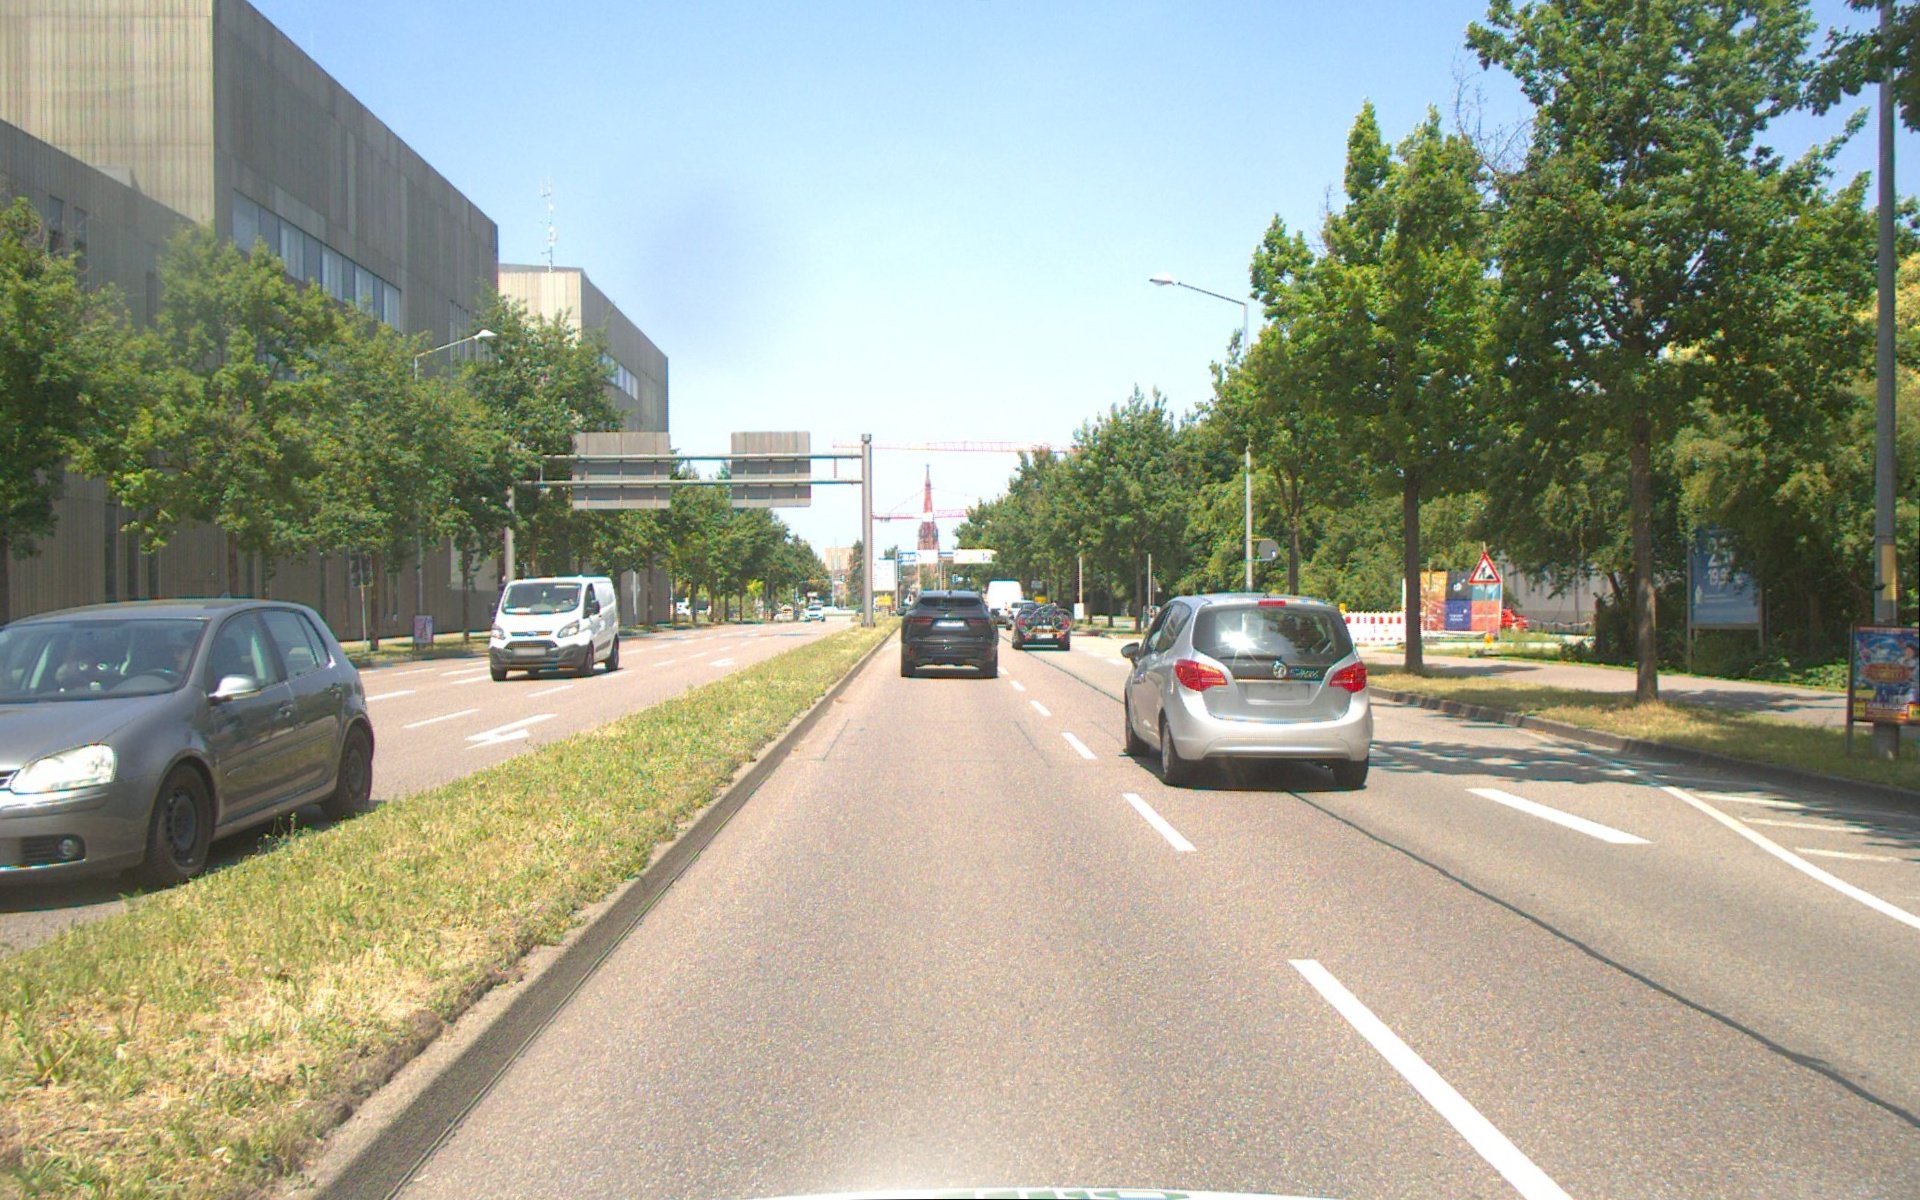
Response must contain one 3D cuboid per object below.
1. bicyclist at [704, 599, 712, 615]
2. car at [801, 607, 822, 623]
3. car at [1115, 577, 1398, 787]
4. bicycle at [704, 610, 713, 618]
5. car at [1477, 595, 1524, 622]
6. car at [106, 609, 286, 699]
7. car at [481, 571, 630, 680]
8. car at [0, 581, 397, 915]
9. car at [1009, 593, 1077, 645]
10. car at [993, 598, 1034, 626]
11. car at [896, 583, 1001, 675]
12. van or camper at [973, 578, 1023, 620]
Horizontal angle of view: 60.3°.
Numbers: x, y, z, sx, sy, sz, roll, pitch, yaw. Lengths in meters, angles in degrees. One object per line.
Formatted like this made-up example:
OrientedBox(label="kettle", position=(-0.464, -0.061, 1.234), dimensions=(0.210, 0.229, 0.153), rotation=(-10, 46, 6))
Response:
OrientedBox(label="bicyclist", position=(-24.083, 0.692, 158.086), dimensions=(0.610, 1.515, 0.757), rotation=(-1, -1, 2))
OrientedBox(label="car", position=(-14.225, 1.406, 158.394), dimensions=(1.774, 1.452, 4.356), rotation=(-2, 0, -3))
OrientedBox(label="car", position=(2.521, 0.642, 14.970), dimensions=(1.756, 1.640, 3.889), rotation=(0, 0, -2))
OrientedBox(label="bicycle", position=(-24.064, 1.355, 158.326), dimensions=(0.471, 0.728, 1.850), rotation=(-1, -1, 2))
OrientedBox(label="car", position=(24.992, 0.388, 76.521), dimensions=(1.350, 1.208, 3.304), rotation=(-1, 0, 5))
OrientedBox(label="car", position=(-13.806, 0.924, 30.136), dimensions=(1.588, 1.481, 4.015), rotation=(-1, 0, -3))
OrientedBox(label="car", position=(-8.254, 0.479, 34.175), dimensions=(1.870, 2.028, 4.897), rotation=(-2, 0, -1))
OrientedBox(label="car", position=(-4.764, 0.688, 9.481), dimensions=(1.774, 1.492, 4.056), rotation=(-2, 0, -2))
OrientedBox(label="car", position=(2.563, 0.606, 52.195), dimensions=(1.973, 1.544, 4.461), rotation=(-1, -1, 1))
OrientedBox(label="car", position=(2.719, 0.600, 85.077), dimensions=(1.622, 1.380, 4.456), rotation=(-1, -1, -5))
OrientedBox(label="car", position=(-0.196, 0.551, 33.050), dimensions=(1.957, 1.719, 4.033), rotation=(1, 0, 0))
OrientedBox(label="van or camper", position=(2.097, -0.030, 93.759), dimensions=(2.444, 2.331, 4.917), rotation=(-1, -1, -3))
